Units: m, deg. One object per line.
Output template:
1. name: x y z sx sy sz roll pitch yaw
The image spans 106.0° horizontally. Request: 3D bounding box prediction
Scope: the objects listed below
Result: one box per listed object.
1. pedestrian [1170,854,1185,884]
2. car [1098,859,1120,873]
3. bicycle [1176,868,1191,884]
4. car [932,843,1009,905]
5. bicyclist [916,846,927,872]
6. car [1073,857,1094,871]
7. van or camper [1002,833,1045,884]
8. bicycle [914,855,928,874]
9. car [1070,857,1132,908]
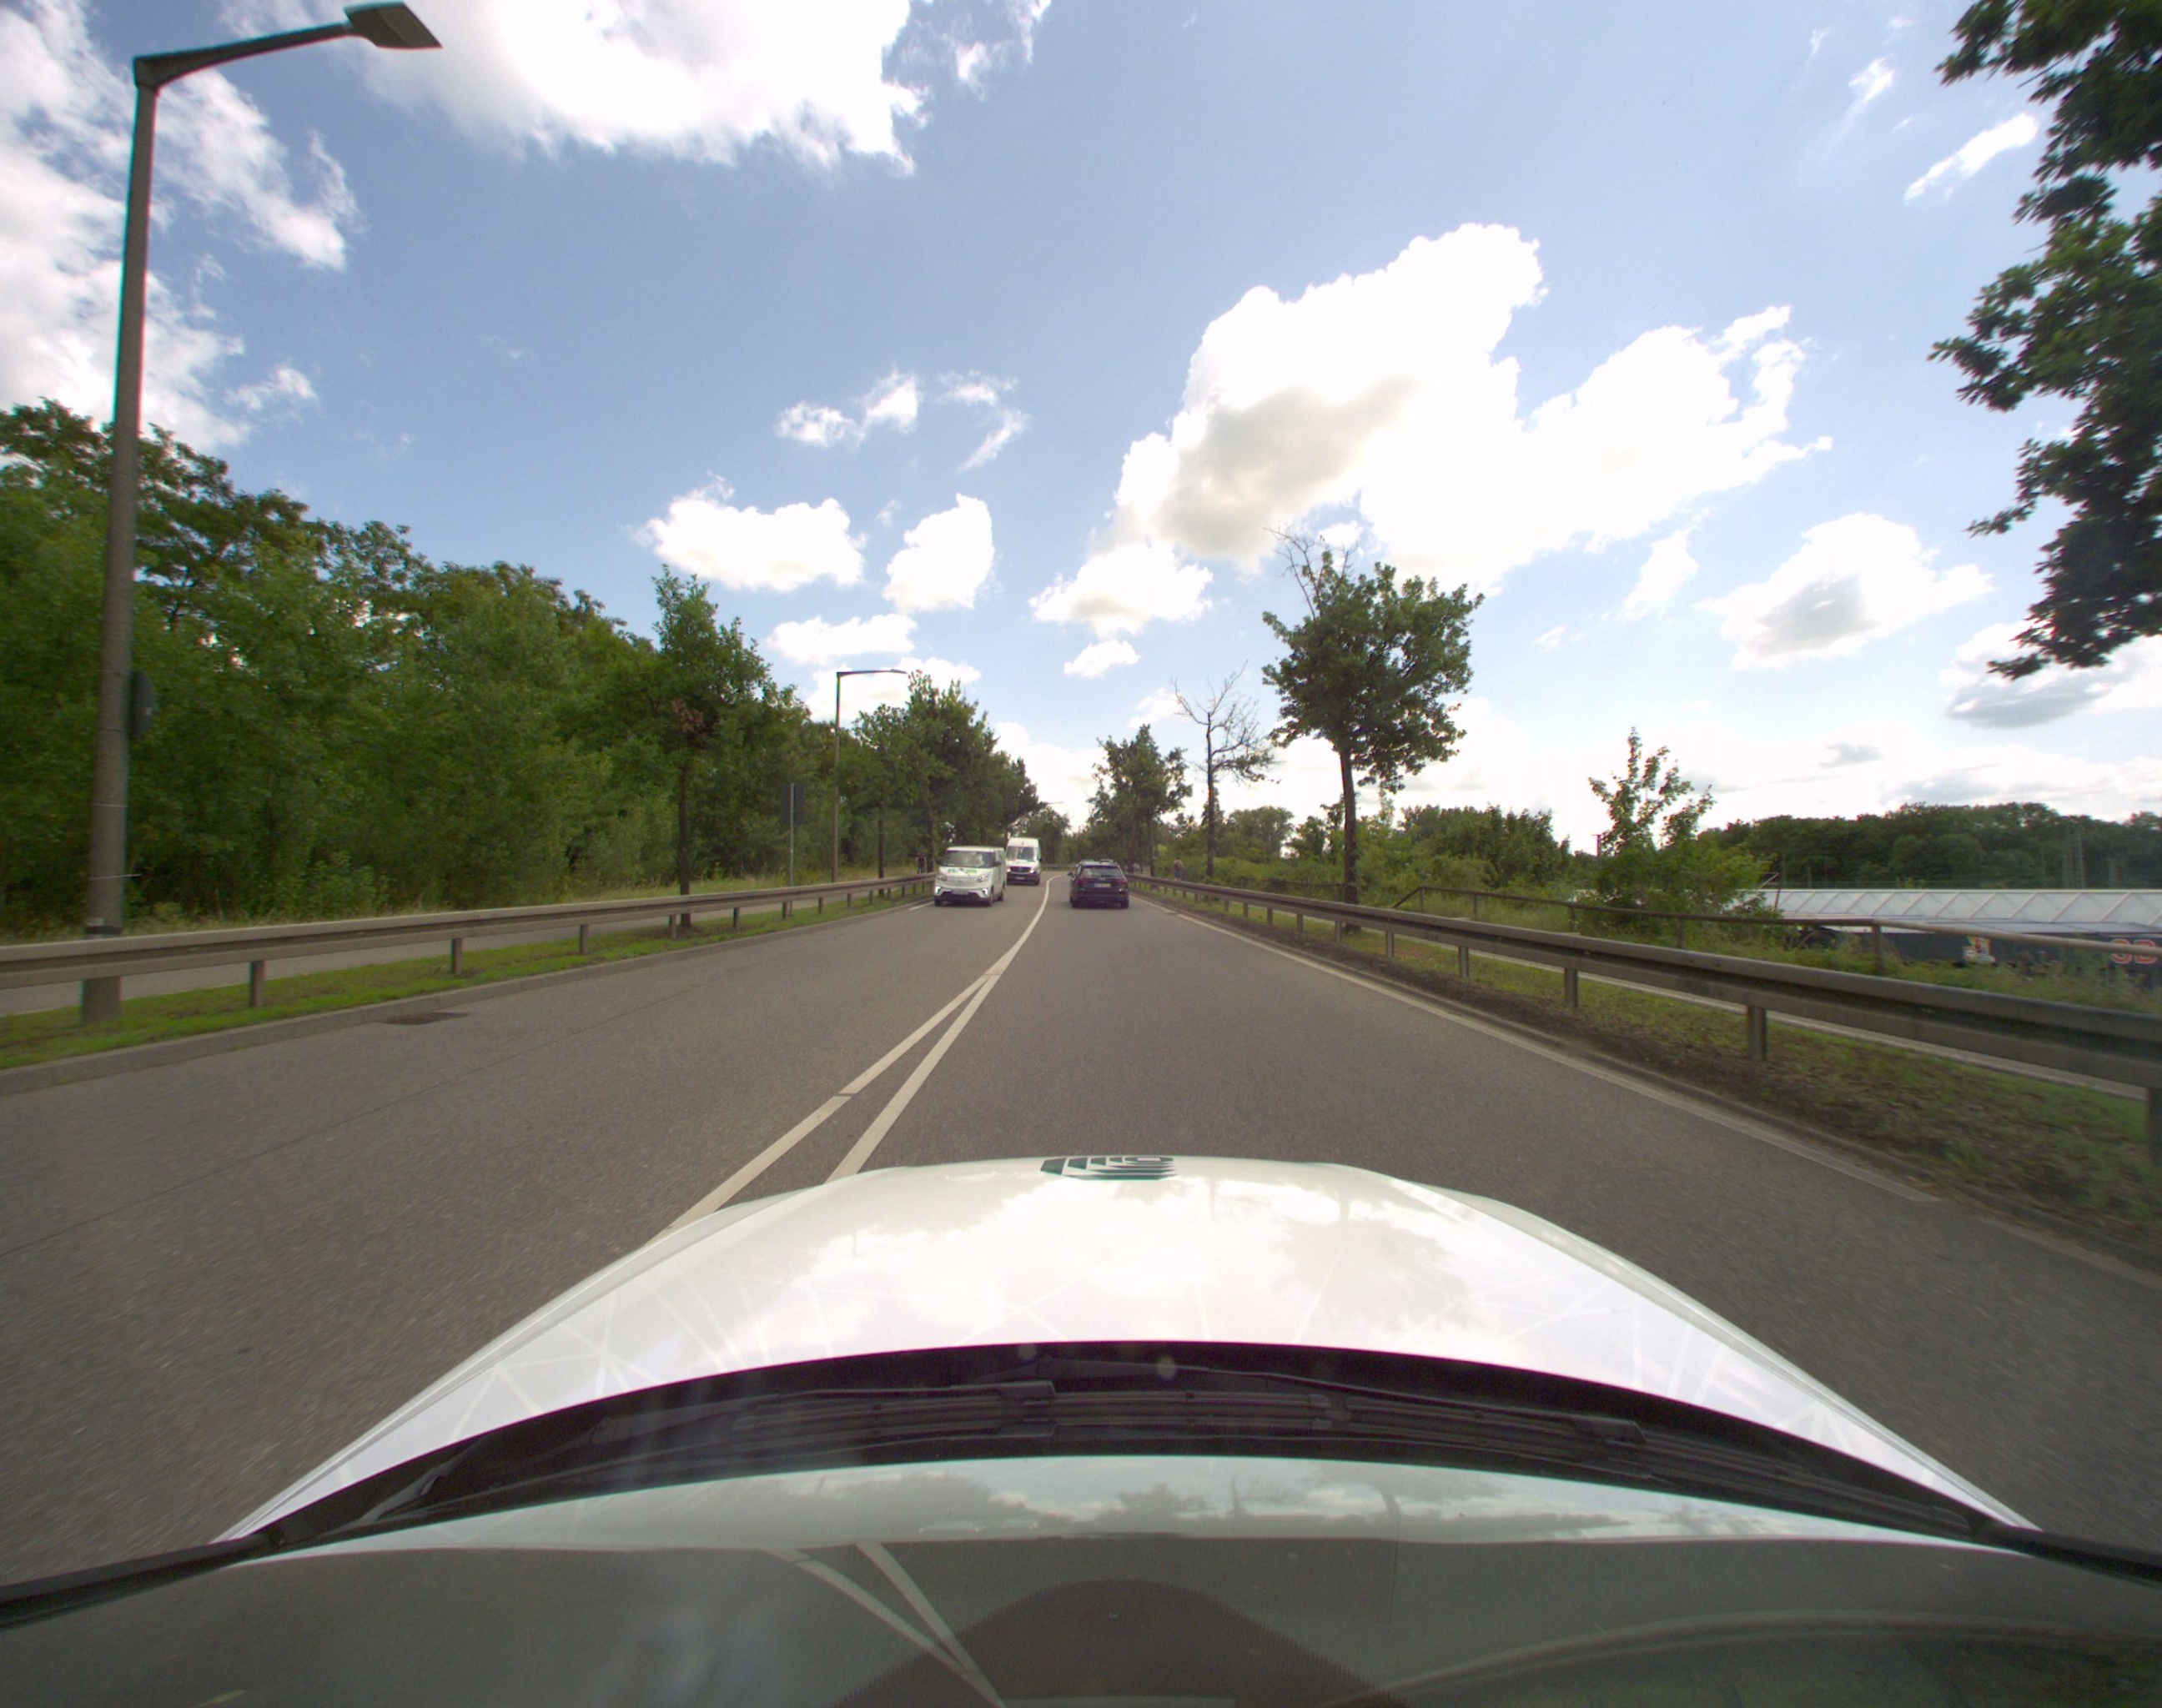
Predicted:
1. pedestrian: 5.414 0.852 45.692 0.655 1.642 1.054 0 -1 -1
2. car: 3.111 1.281 90.547 1.567 1.520 4.015 1 0 14
3. bicycle: 5.754 1.234 45.702 0.555 0.869 1.824 0 0 -1
4. car: -3.537 0.604 27.036 1.770 1.867 5.267 0 0 1
5. bicyclist: -9.493 0.297 48.535 0.483 1.553 0.880 0 -1 -2
6. car: 0.313 1.218 99.728 1.770 1.607 4.169 2 0 9
7. van or camper: -3.143 0.240 45.545 1.988 2.582 5.978 2 0 -1
8. bicycle: -9.491 0.615 48.331 0.555 1.063 1.752 0 -1 -2
9. car: 0.558 0.861 26.492 1.823 1.492 4.204 1 0 -1
